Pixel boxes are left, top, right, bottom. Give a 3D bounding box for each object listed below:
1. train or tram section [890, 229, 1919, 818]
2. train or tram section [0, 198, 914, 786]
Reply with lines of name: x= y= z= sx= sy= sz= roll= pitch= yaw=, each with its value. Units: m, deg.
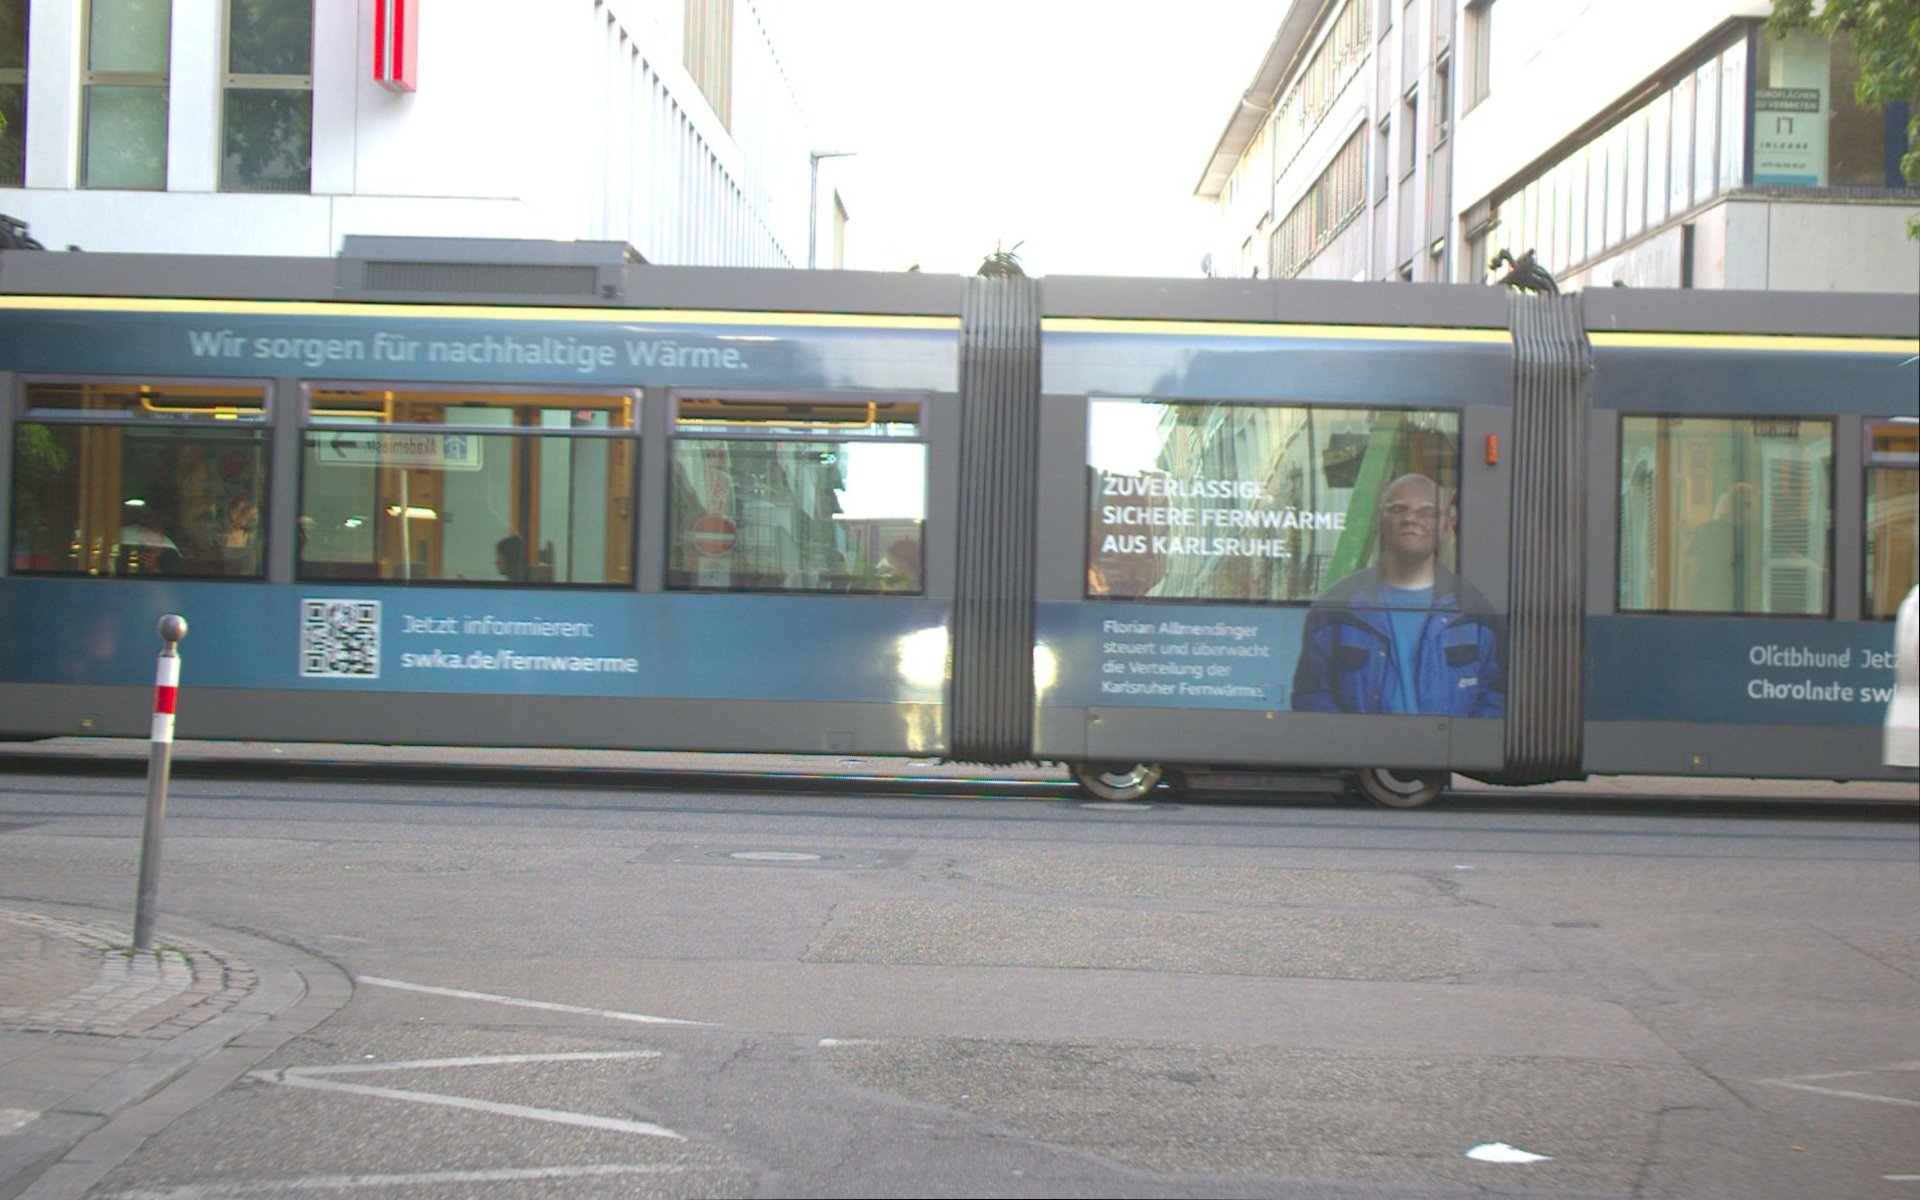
train or tram section: x=4.783 y=-0.453 z=22.507 sx=10.336 sy=3.511 sz=3.026 roll=1 pitch=0 yaw=1
train or tram section: x=-5.556 y=-0.709 z=22.657 sx=10.367 sy=3.512 sz=3.017 roll=1 pitch=0 yaw=1
